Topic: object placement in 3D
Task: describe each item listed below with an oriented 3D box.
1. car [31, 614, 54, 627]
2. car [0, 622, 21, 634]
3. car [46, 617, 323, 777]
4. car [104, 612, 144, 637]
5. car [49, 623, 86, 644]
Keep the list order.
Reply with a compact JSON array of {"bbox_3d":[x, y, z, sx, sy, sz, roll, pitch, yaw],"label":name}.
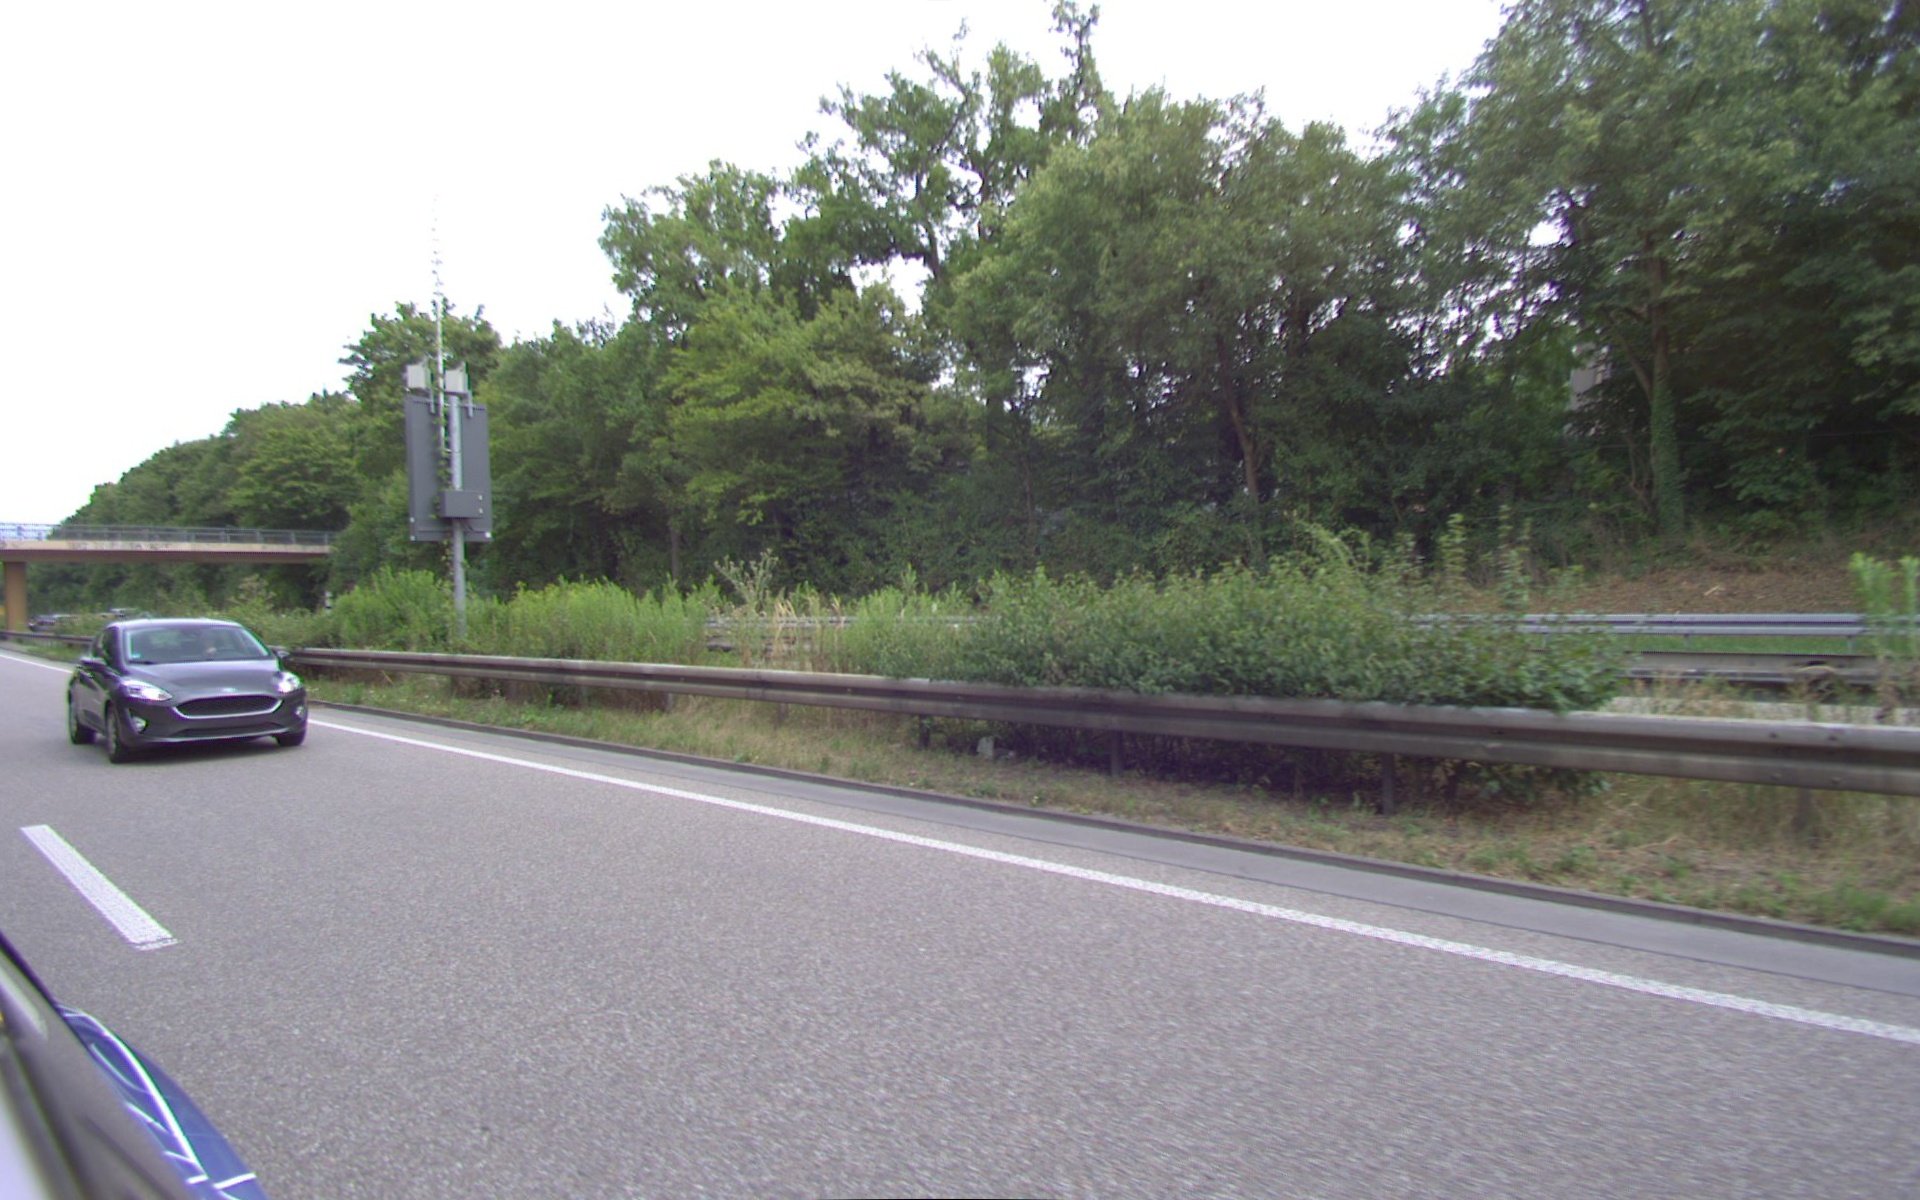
[{"bbox_3d":[-120.172,2.662,132.501,4.639,1.699,1.873,-1,-1,43],"label":"car"},{"bbox_3d":[-113.435,3.325,120.773,4.936,1.391,1.670,-1,-1,43],"label":"car"},{"bbox_3d":[-9.134,0.947,11.756,4.639,1.469,1.806,-1,-1,43],"label":"car"},{"bbox_3d":[-68.754,1.992,83.206,5.301,2.029,1.777,-1,-1,42],"label":"car"},{"bbox_3d":[-72.249,2.668,81.887,4.180,1.602,1.784,-1,-1,42],"label":"car"}]
